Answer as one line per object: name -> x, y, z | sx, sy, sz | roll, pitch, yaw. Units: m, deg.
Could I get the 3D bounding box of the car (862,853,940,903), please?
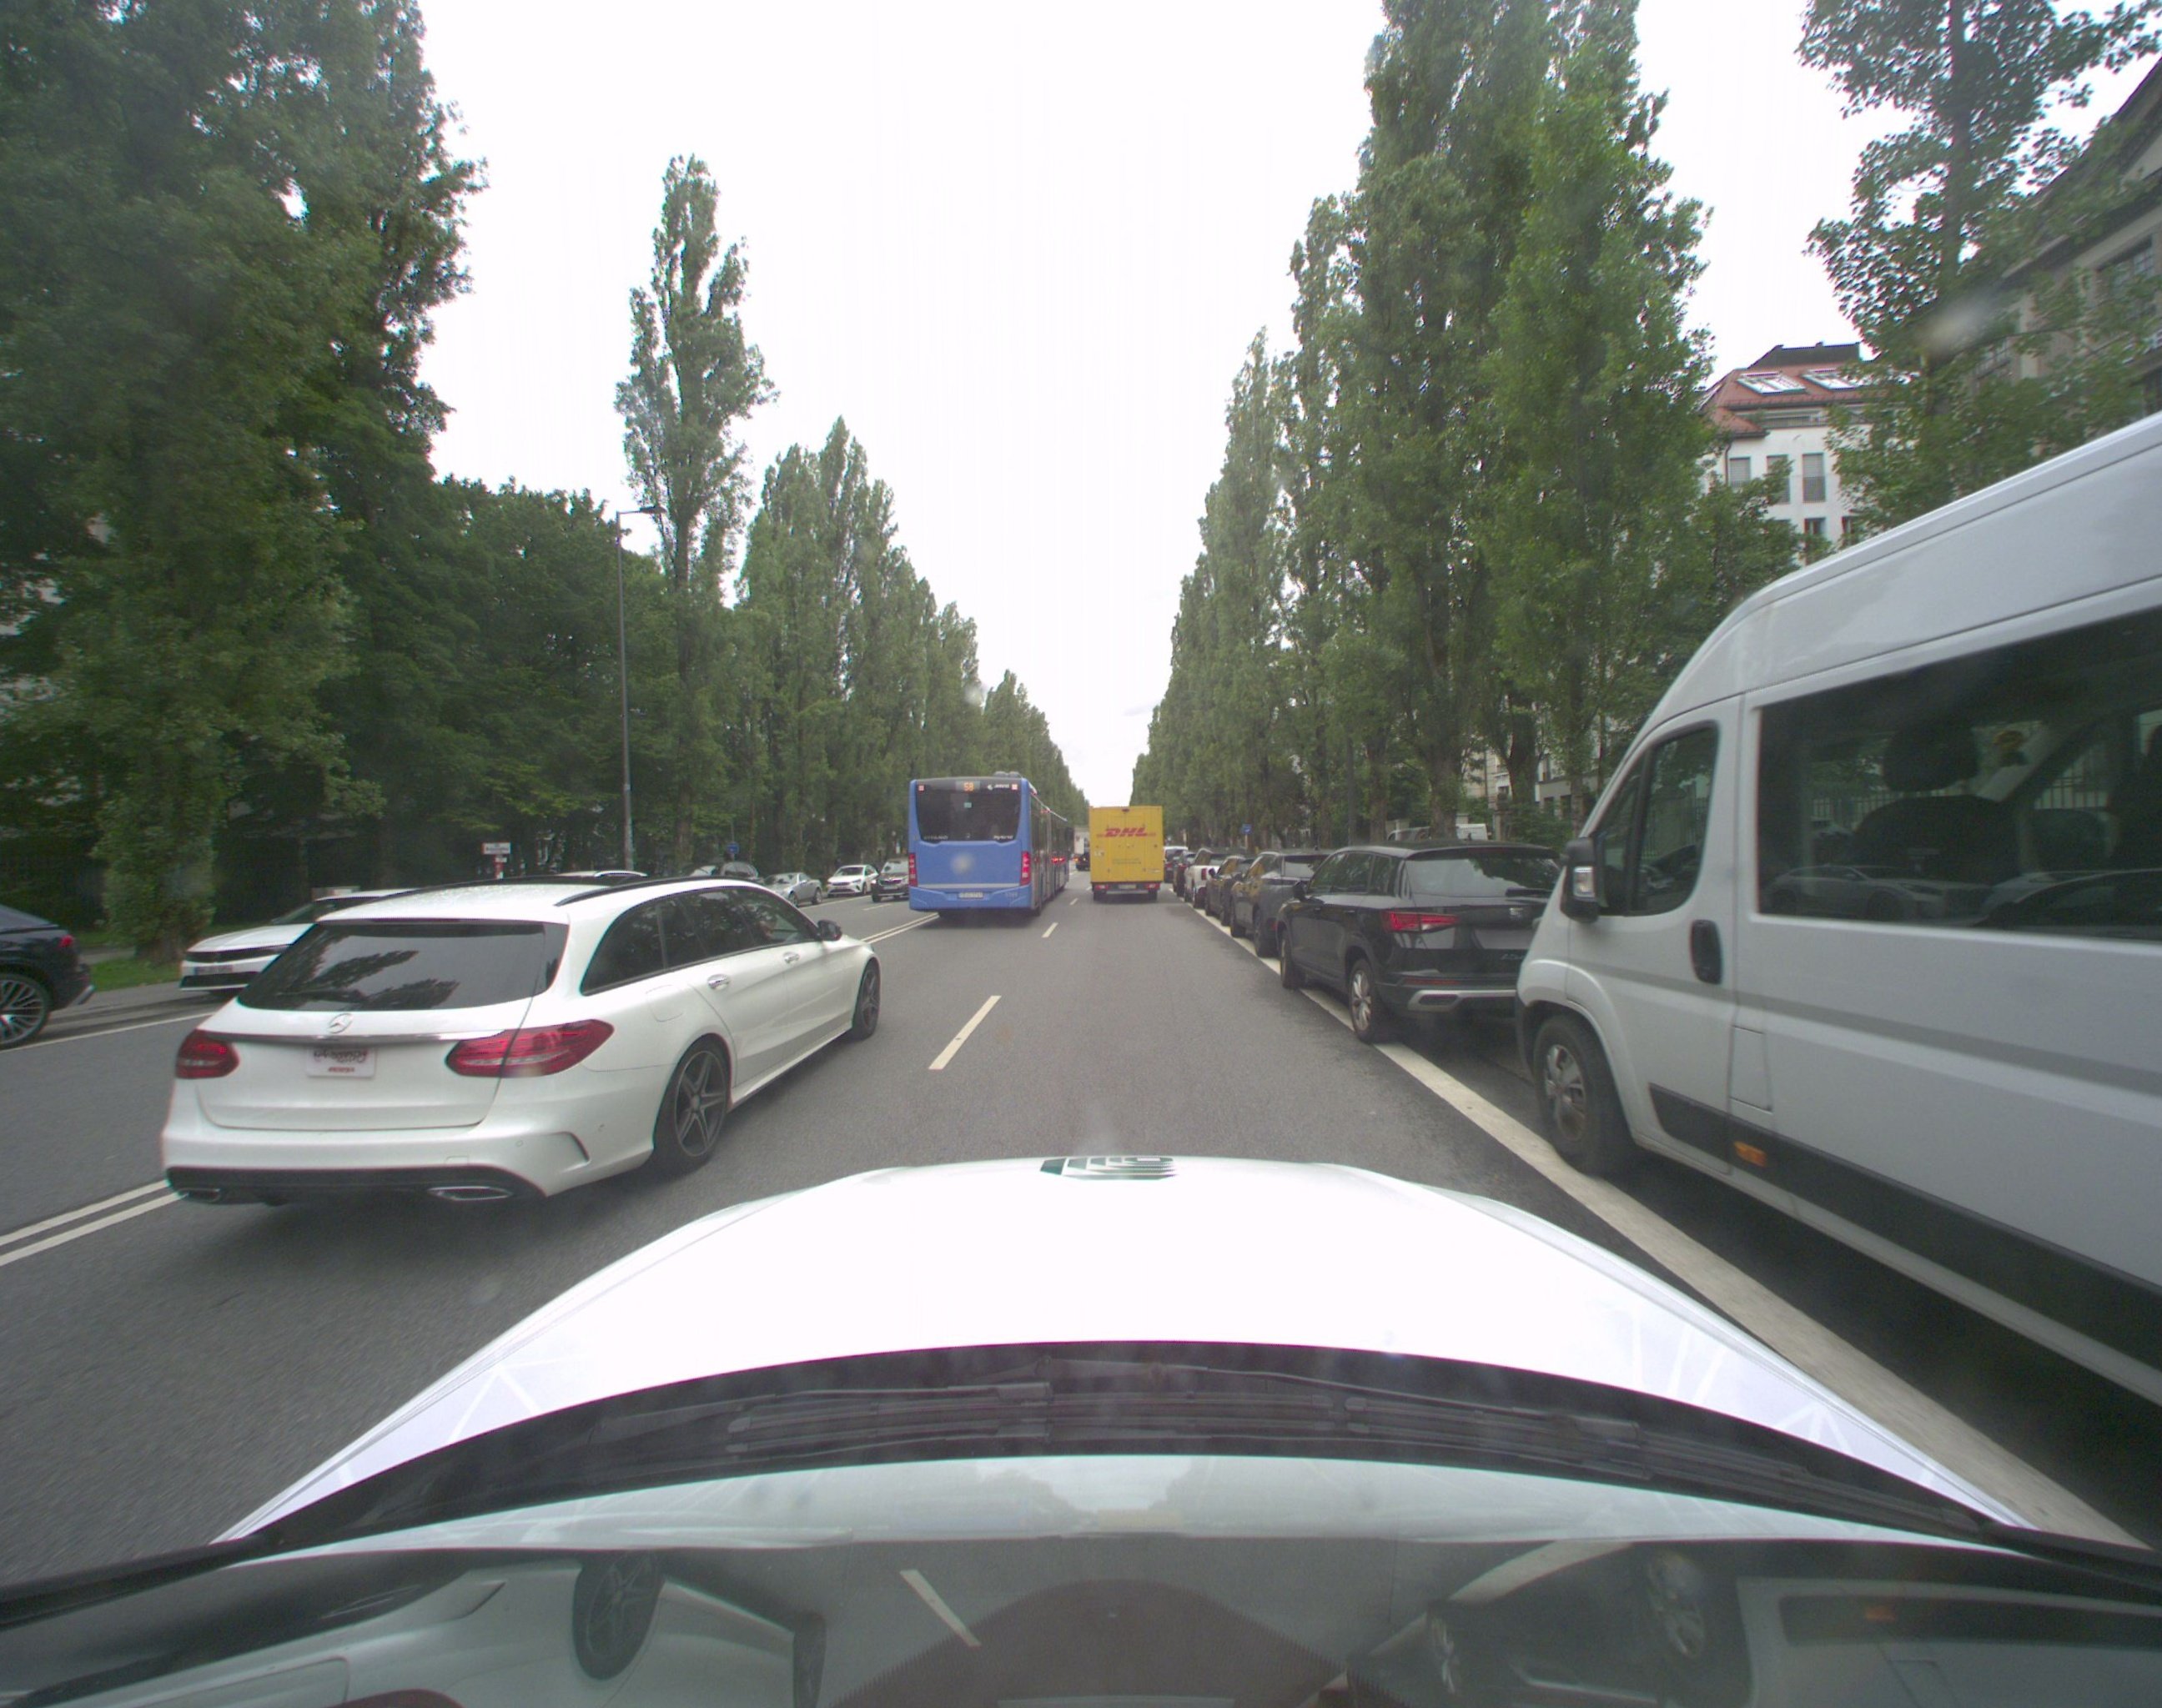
car -> -6.735, 0.862, 30.909 | 1.778, 1.656, 4.115 | -4, 0, 2

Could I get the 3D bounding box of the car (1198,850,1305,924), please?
car -> 3.647, 0.647, 18.068 | 1.627, 1.446, 4.150 | 0, 0, 2

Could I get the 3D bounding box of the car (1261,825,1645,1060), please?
car -> 3.030, 0.609, 7.729 | 1.814, 1.590, 4.225 | -1, 0, 2

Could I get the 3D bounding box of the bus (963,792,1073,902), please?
bus -> -1.998, -0.228, 30.099 | 2.861, 3.304, 9.794 | -2, 0, 2

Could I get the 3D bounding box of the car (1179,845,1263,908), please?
car -> 3.801, 0.558, 22.676 | 1.774, 1.581, 4.149 | 0, 0, 2

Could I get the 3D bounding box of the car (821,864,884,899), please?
car -> -10.739, 1.259, 38.567 | 1.679, 1.413, 4.006 | -4, 0, 1

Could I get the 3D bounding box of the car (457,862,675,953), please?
car -> -11.332, 1.093, 18.384 | 1.778, 1.588, 4.465 | -4, 0, 3

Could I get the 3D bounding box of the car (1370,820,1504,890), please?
car -> 10.953, 0.028, 25.559 | 1.986, 1.925, 5.326 | -2, 0, 2

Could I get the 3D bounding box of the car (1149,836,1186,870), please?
car -> 5.593, -0.067, 53.267 | 2.044, 2.013, 5.697 | -2, 0, 3

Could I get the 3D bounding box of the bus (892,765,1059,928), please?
bus -> -2.243, -0.173, 20.859 | 2.846, 3.213, 9.061 | -1, 0, 1

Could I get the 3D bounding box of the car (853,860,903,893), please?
car -> -10.655, 1.157, 43.038 | 1.739, 1.518, 4.113 | -4, 0, -3

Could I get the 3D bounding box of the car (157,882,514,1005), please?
car -> -11.557, 1.282, 13.131 | 1.670, 1.422, 4.240 | -4, 0, 2

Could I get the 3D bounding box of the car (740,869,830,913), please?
car -> -10.752, 1.309, 29.904 | 1.574, 1.304, 4.032 | -4, 0, 3

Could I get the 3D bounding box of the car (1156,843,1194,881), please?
car -> 5.145, 0.428, 44.920 | 1.798, 1.976, 4.240 | -1, 0, 3

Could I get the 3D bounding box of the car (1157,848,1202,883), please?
car -> 4.722, 0.544, 39.413 | 1.855, 1.552, 4.004 | -2, 0, 3

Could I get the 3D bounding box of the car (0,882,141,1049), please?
car -> -11.631, 1.186, 6.652 | 1.808, 1.608, 5.056 | -4, 0, 2

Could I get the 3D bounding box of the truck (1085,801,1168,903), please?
truck -> 1.443, -0.076, 27.300 | 2.319, 2.898, 7.336 | -2, 0, 2

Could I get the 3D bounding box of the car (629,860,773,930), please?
car -> -11.100, 1.124, 24.252 | 1.873, 1.658, 4.719 | -4, 0, 1

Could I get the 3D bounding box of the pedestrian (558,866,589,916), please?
pedestrian -> -19.095, 1.393, 30.651 | 0.637, 1.815, 0.776 | -2, 0, 2

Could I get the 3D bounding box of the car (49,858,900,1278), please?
car -> -2.692, 0.780, 5.198 | 1.818, 1.454, 4.586 | -1, 0, 3

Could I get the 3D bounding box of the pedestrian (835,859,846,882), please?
pedestrian -> -19.078, 1.301, 64.613 | 0.597, 1.739, 0.641 | -2, 0, 2

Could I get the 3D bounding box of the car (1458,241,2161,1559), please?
car -> 3.060, 0.082, 1.441 | 2.066, 2.479, 6.287 | -1, 0, 2

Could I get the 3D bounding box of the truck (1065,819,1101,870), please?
truck -> 0.166, -0.796, 69.305 | 2.707, 3.965, 9.218 | -2, 0, 0

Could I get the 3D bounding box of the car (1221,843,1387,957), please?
car -> 3.342, 0.616, 12.976 | 1.645, 1.503, 4.116 | -1, 0, 2

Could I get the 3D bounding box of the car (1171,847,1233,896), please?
car -> 4.121, 0.558, 28.300 | 1.718, 1.495, 4.328 | -2, 0, 3

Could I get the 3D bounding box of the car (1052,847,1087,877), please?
car -> -0.716, 0.503, 54.149 | 2.027, 1.801, 4.511 | -2, 0, 3
